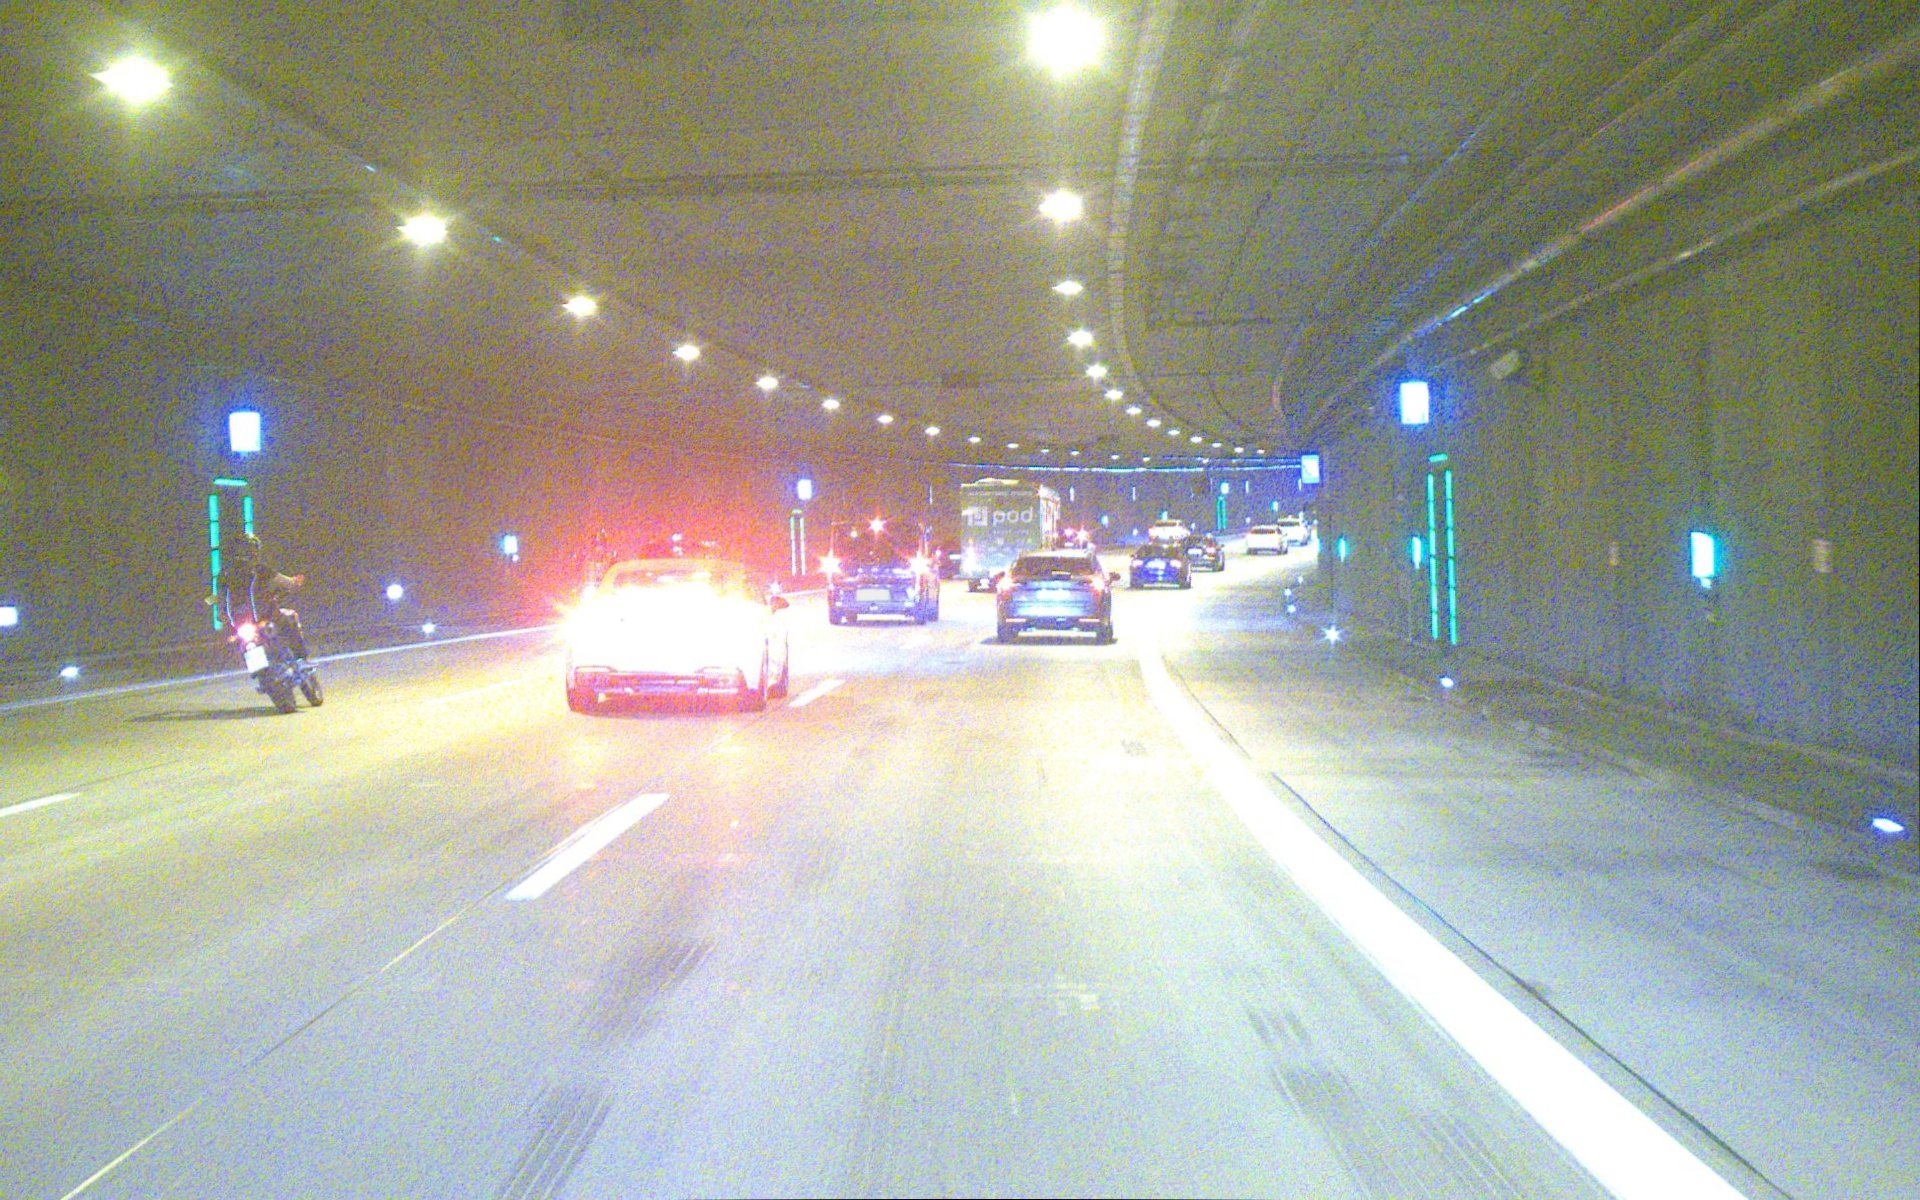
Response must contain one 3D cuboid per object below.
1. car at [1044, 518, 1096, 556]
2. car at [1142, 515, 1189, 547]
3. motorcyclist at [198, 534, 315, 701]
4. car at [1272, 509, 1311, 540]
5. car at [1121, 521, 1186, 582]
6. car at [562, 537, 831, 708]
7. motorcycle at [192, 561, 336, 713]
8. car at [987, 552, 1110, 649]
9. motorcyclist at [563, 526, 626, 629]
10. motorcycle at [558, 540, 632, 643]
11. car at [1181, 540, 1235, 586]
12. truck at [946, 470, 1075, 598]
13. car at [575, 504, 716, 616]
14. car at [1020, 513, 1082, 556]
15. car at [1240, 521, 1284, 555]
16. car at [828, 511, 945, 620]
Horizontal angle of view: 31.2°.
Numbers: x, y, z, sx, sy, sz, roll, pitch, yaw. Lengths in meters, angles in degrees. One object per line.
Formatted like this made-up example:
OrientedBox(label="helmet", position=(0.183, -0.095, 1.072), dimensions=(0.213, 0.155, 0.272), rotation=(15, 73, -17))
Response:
OrientedBox(label="car", position=(4.835, -2.745, 150.206), dimensions=(1.931, 1.637, 3.999), rotation=(1, 1, 6))
OrientedBox(label="car", position=(10.997, -3.682, 183.908), dimensions=(1.931, 1.637, 3.998), rotation=(1, 1, 12))
OrientedBox(label="motorcyclist", position=(-6.264, 0.148, 30.662), dimensions=(0.777, 1.447, 1.069), rotation=(1, 0, 2))
OrientedBox(label="car", position=(18.542, -4.211, 192.247), dimensions=(1.994, 1.626, 3.999), rotation=(1, 1, 8))
OrientedBox(label="car", position=(6.025, -1.516, 106.746), dimensions=(1.857, 1.848, 3.999), rotation=(0, 1, 5))
OrientedBox(label="car", position=(-2.418, 0.151, 32.769), dimensions=(1.702, 1.414, 5.059), rotation=(0, 2, 6))
OrientedBox(label="motorcycle", position=(-6.189, 0.302, 30.699), dimensions=(0.683, 1.292, 2.398), rotation=(0, 1, 3))
OrientedBox(label="car", position=(1.437, 0.008, 54.816), dimensions=(1.742, 1.459, 3.870), rotation=(1, 0, 5))
OrientedBox(label="motorcyclist", position=(-5.283, -0.324, 49.643), dimensions=(0.806, 1.443, 1.866), rotation=(0, 0, -9))
OrientedBox(label="motorcycle", position=(-5.281, -0.140, 49.626), dimensions=(0.926, 1.429, 2.964), rotation=(1, 1, -8))
OrientedBox(label="car", position=(9.737, -1.465, 134.967), dimensions=(1.950, 1.766, 3.999), rotation=(1, 1, 6))
OrientedBox(label="truck", position=(1.572, -1.951, 102.410), dimensions=(3.040, 3.660, 7.391), rotation=(1, 1, 7))
OrientedBox(label="car", position=(-5.819, -0.758, 64.053), dimensions=(1.994, 2.007, 4.000), rotation=(0, 1, 4))
OrientedBox(label="car", position=(3.550, -2.571, 133.533), dimensions=(1.994, 1.626, 3.999), rotation=(1, 1, 7))
OrientedBox(label="car", position=(15.047, -3.085, 171.328), dimensions=(1.931, 1.637, 3.999), rotation=(1, 1, 8))
OrientedBox(label="car", position=(-1.375, -0.695, 65.861), dimensions=(1.910, 1.937, 3.871), rotation=(0, 3, 3))
